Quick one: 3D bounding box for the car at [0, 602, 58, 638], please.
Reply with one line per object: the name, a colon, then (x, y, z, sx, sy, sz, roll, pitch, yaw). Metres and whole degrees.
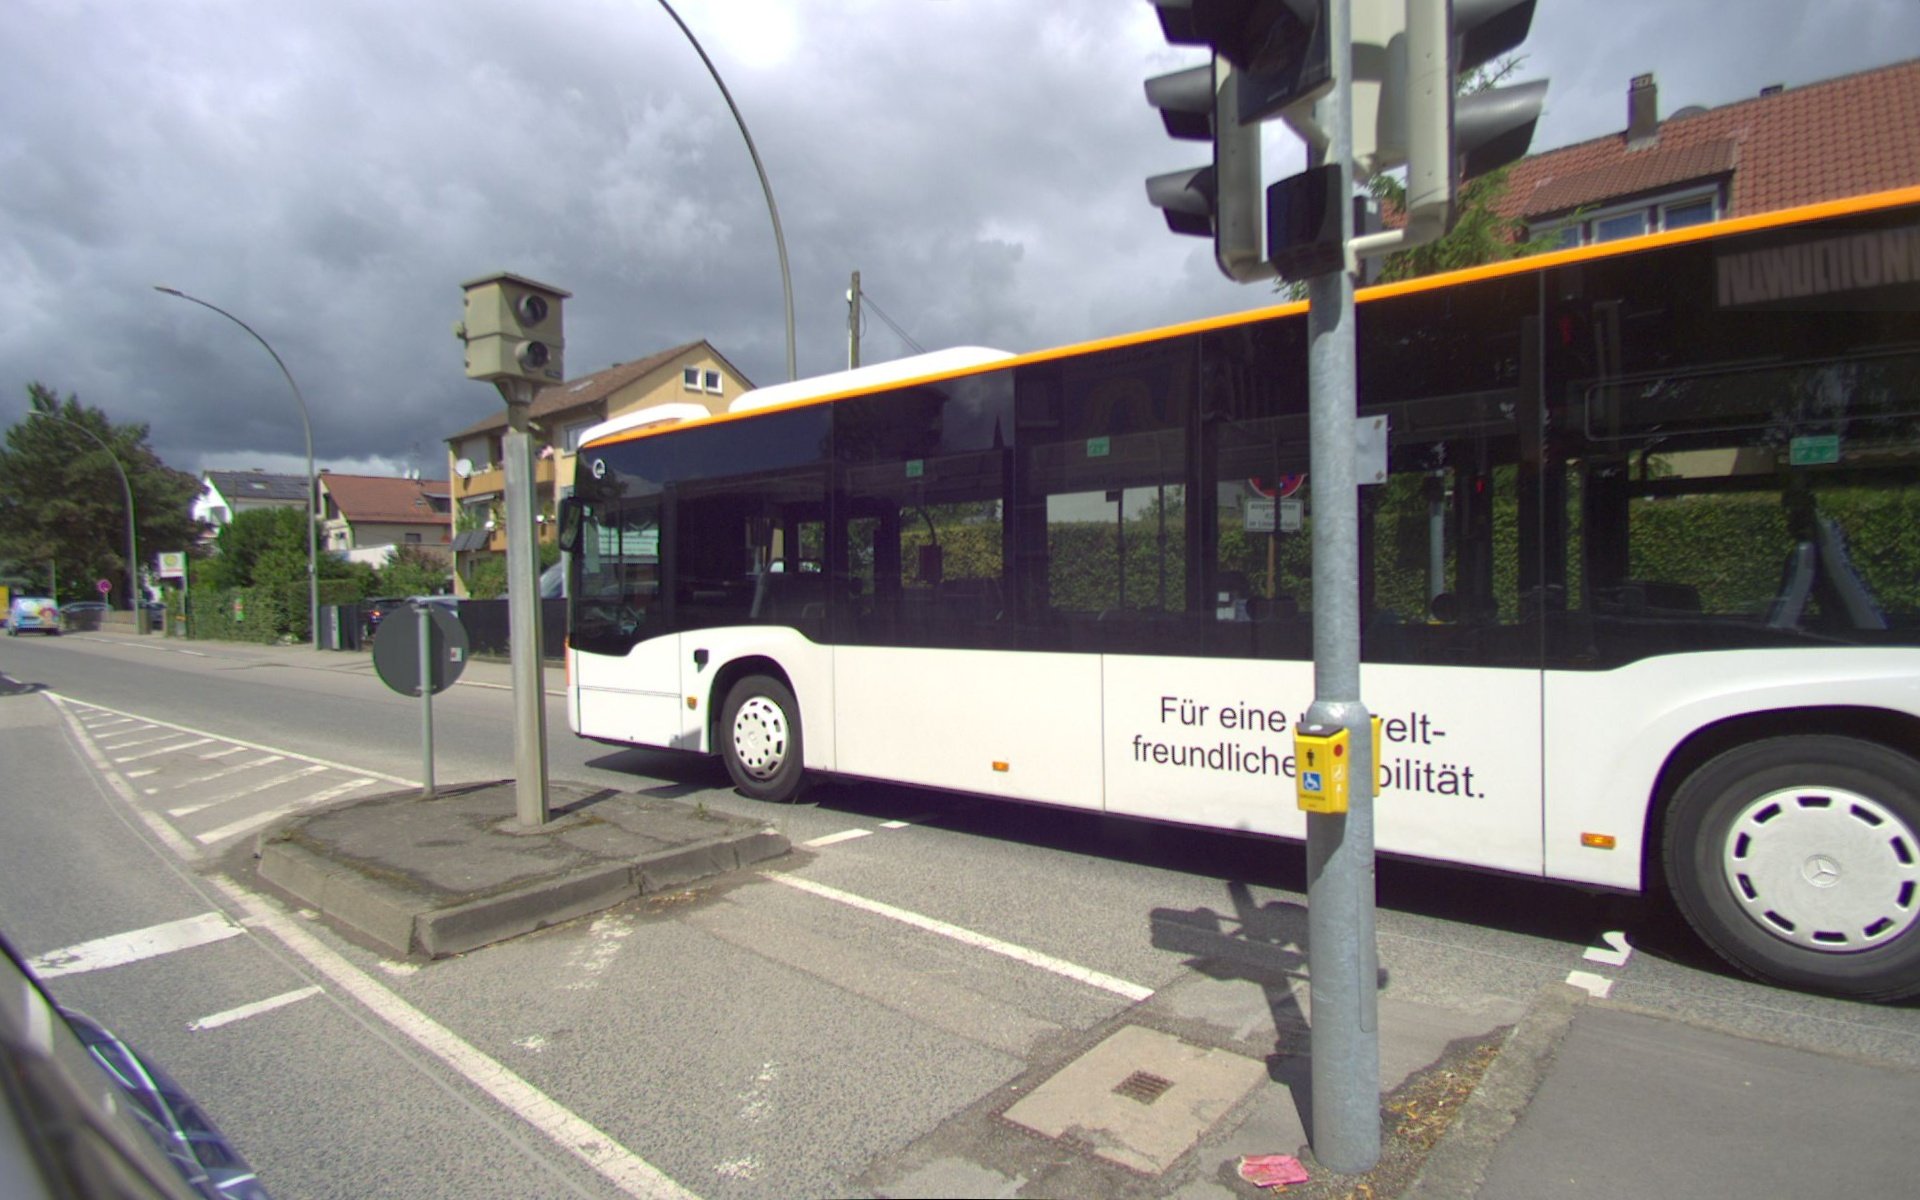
car: (-46.434, 0.950, 50.409, 3.998, 1.693, 1.707, 0, 1, 41)

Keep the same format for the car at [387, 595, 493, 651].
car: (-15.231, 0.610, 29.533, 1.860, 1.470, 4.358, -3, 2, -39)

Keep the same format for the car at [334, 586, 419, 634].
car: (-22.044, 0.352, 38.202, 3.522, 1.678, 1.806, 0, 1, 43)

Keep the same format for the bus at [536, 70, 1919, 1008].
bus: (1.890, -0.200, 6.031, 12.252, 3.053, 2.692, 0, 0, 39)

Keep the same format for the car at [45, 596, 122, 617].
car: (-74.599, 0.544, 86.138, 2.217, 1.691, 4.674, 0, 1, 41)

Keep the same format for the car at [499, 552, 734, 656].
car: (-8.661, 0.028, 25.910, 2.105, 2.402, 5.291, 0, 1, 44)

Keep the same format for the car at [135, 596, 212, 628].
car: (-52.923, 0.818, 68.148, 3.957, 2.029, 1.993, -1, 1, 11)
